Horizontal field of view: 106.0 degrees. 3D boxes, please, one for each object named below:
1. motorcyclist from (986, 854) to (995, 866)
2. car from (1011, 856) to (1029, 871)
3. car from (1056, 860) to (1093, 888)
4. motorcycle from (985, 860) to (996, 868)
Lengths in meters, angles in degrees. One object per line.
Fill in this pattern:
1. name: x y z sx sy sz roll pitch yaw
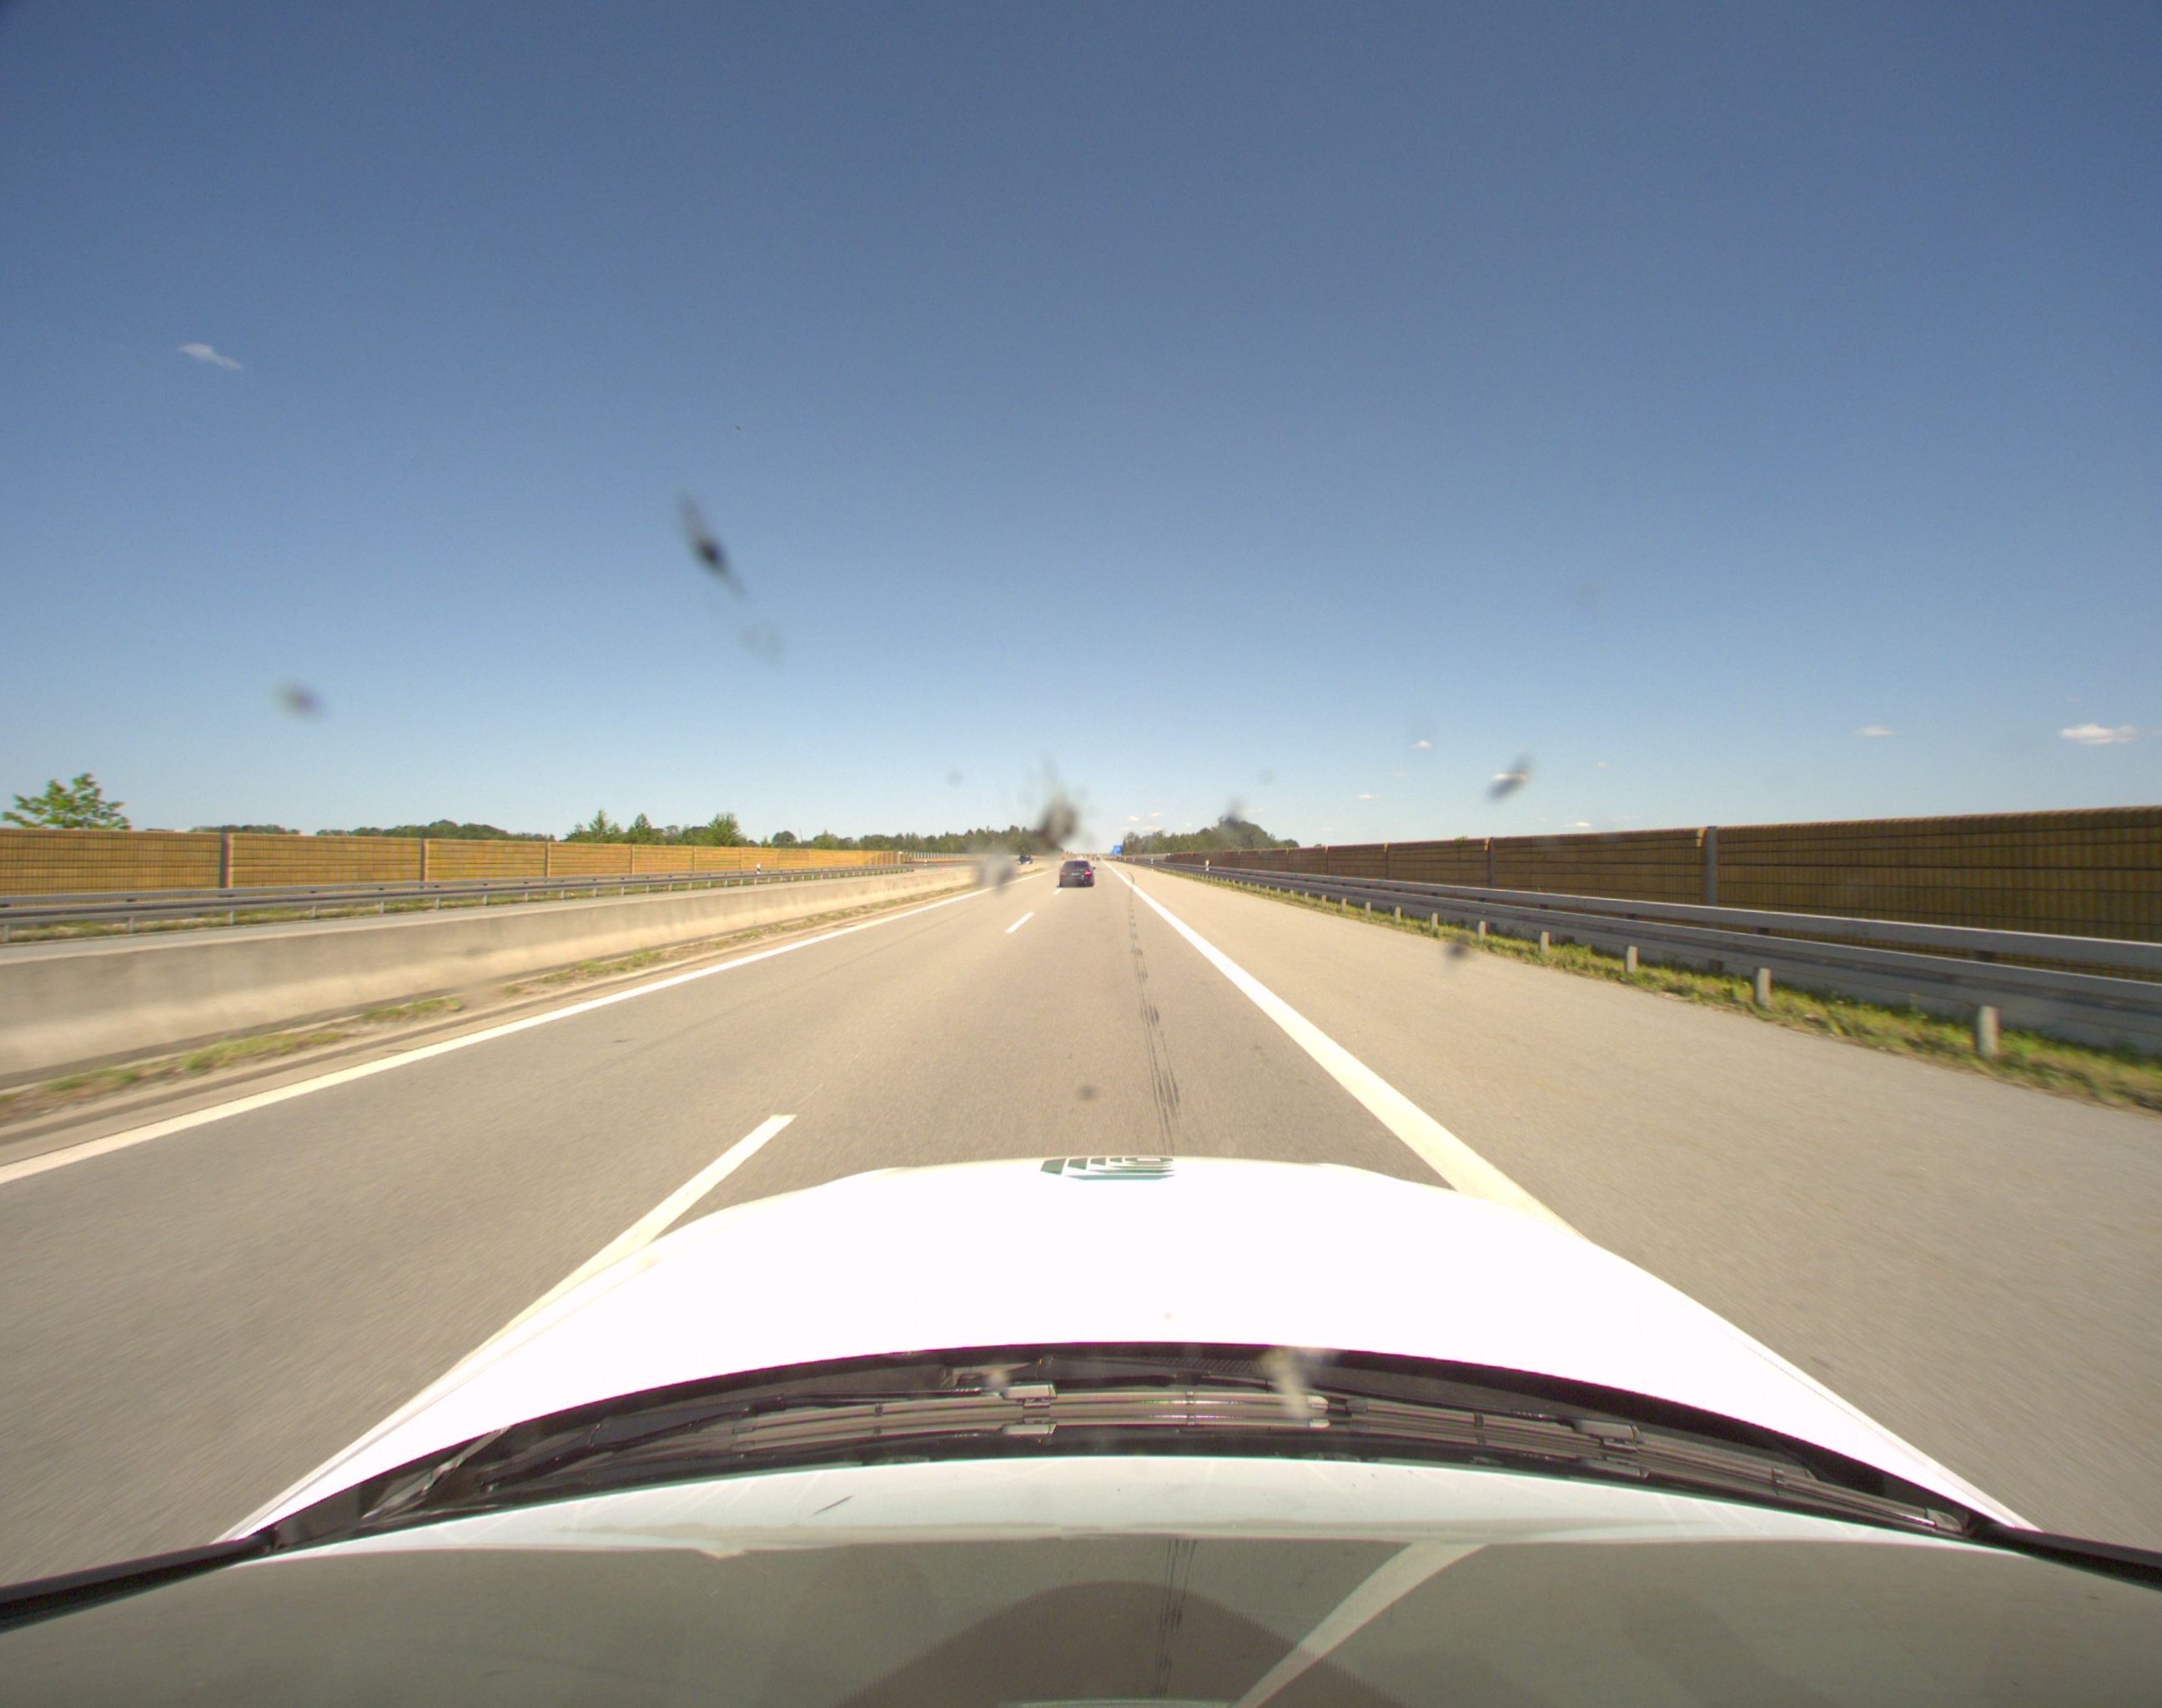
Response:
1. motorcyclist: -12.245 0.775 110.037 1.009 1.564 1.429 0 -1 1
2. car: -8.755 1.360 117.486 1.986 2.014 5.739 0 -1 1
3. car: -0.279 1.001 42.641 1.783 1.374 3.918 0 0 2
4. motorcycle: -12.242 1.350 110.044 1.009 1.167 2.869 0 0 1
